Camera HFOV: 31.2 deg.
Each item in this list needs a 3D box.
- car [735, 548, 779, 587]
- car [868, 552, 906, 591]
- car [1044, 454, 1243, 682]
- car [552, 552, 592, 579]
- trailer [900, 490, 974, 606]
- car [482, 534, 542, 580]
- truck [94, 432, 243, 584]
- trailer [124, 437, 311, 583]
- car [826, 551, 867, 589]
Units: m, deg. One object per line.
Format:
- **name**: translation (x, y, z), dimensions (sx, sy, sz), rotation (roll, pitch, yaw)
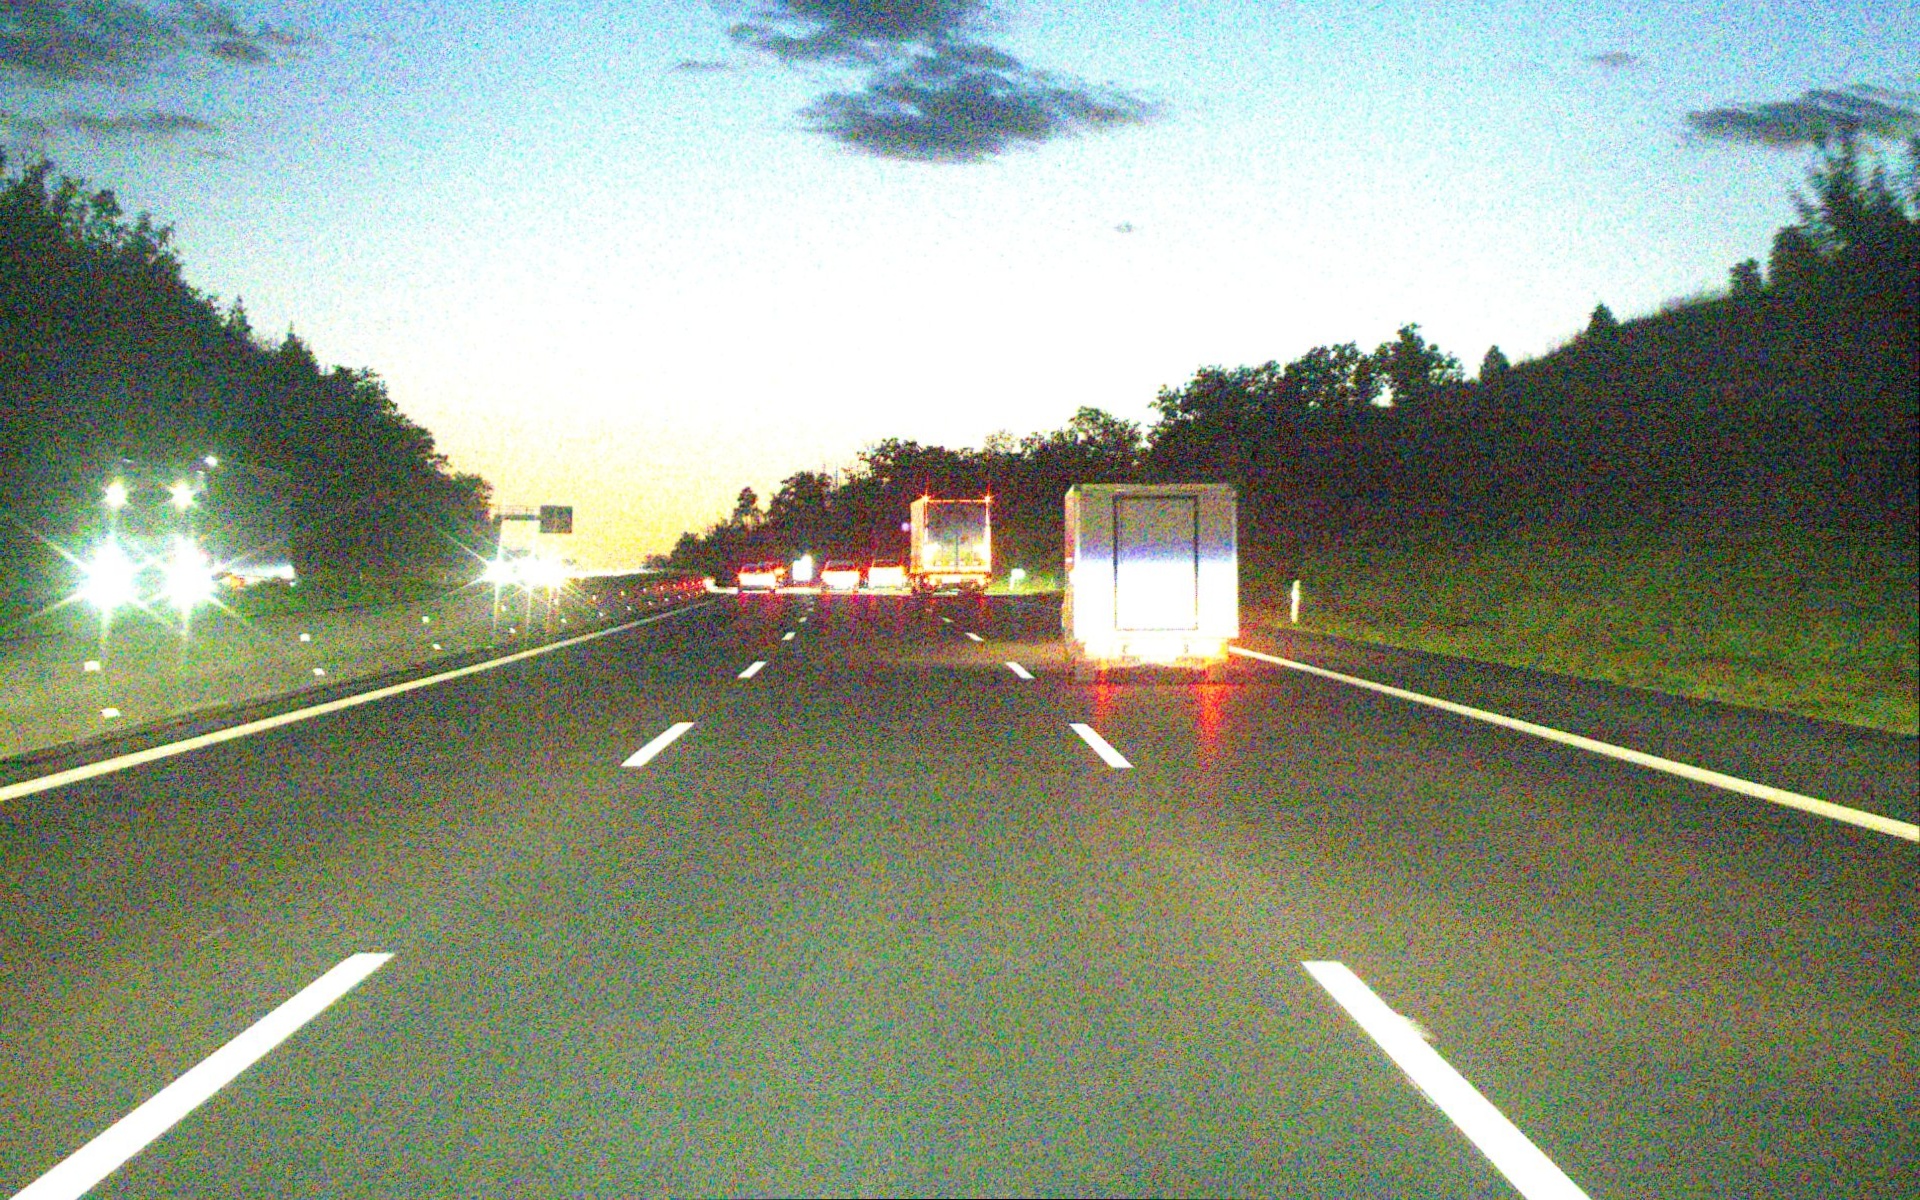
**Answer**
- **car**: translation (-9.740, -1.556, 165.100), dimensions (1.993, 1.788, 4.000), rotation (0, -1, -5)
- **car**: translation (-4.187, -1.619, 196.023), dimensions (1.993, 2.110, 4.000), rotation (0, -1, -3)
- **car**: translation (2.197, -0.400, 42.725), dimensions (2.032, 2.638, 5.725), rotation (0, 0, -1)
- **car**: translation (-24.277, -2.173, 215.044), dimensions (2.244, 1.663, 4.890), rotation (0, 1, -4)
- **trailer**: translation (-1.007, -1.997, 141.893), dimensions (2.829, 4.242, 17.048), rotation (0, -1, -1)
- **car**: translation (-20.809, -2.011, 159.837), dimensions (2.244, 2.094, 5.716), rotation (0, 1, -2)
- **truck**: translation (-21.339, -2.453, 92.969), dimensions (2.853, 3.967, 5.860), rotation (0, 1, -2)
- **trailer**: translation (-21.546, -2.533, 100.608), dimensions (2.853, 3.967, 13.887), rotation (0, 1, -2)
- **car**: translation (-5.527, -1.452, 167.470), dimensions (1.993, 1.788, 4.000), rotation (0, -1, -2)
